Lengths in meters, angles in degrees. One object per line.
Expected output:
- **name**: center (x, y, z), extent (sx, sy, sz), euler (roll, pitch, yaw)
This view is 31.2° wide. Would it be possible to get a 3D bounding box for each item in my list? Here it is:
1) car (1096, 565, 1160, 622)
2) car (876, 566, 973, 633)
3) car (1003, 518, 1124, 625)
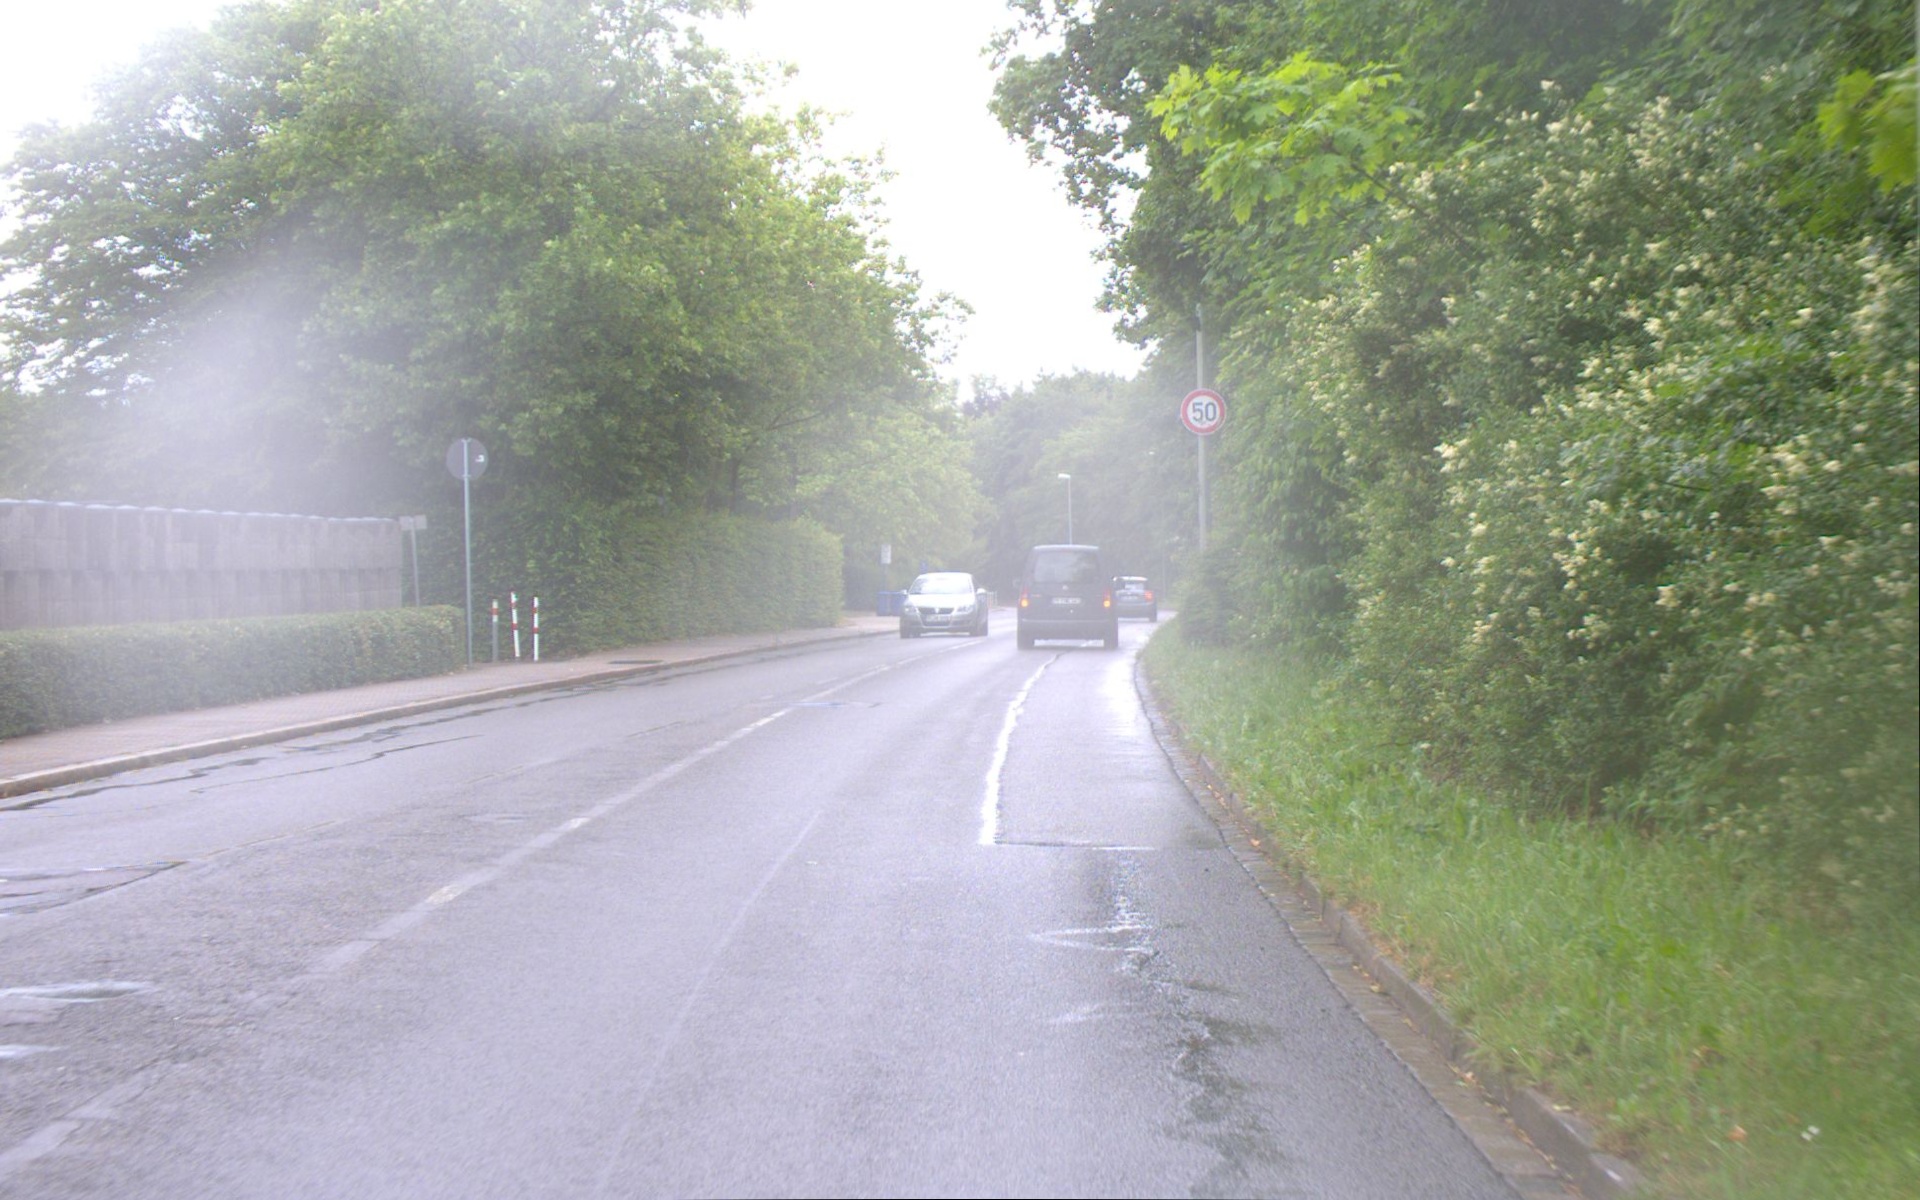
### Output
- **car**: center (5.414, -0.222, 111.089), extent (1.950, 1.744, 4.000), euler (0, 1, 1)
- **car**: center (-0.777, -0.040, 78.172), extent (1.993, 1.415, 4.485), euler (-1, 1, 2)
- **car**: center (1.884, -0.544, 61.608), extent (1.994, 1.787, 4.000), euler (2, 2, 3)
